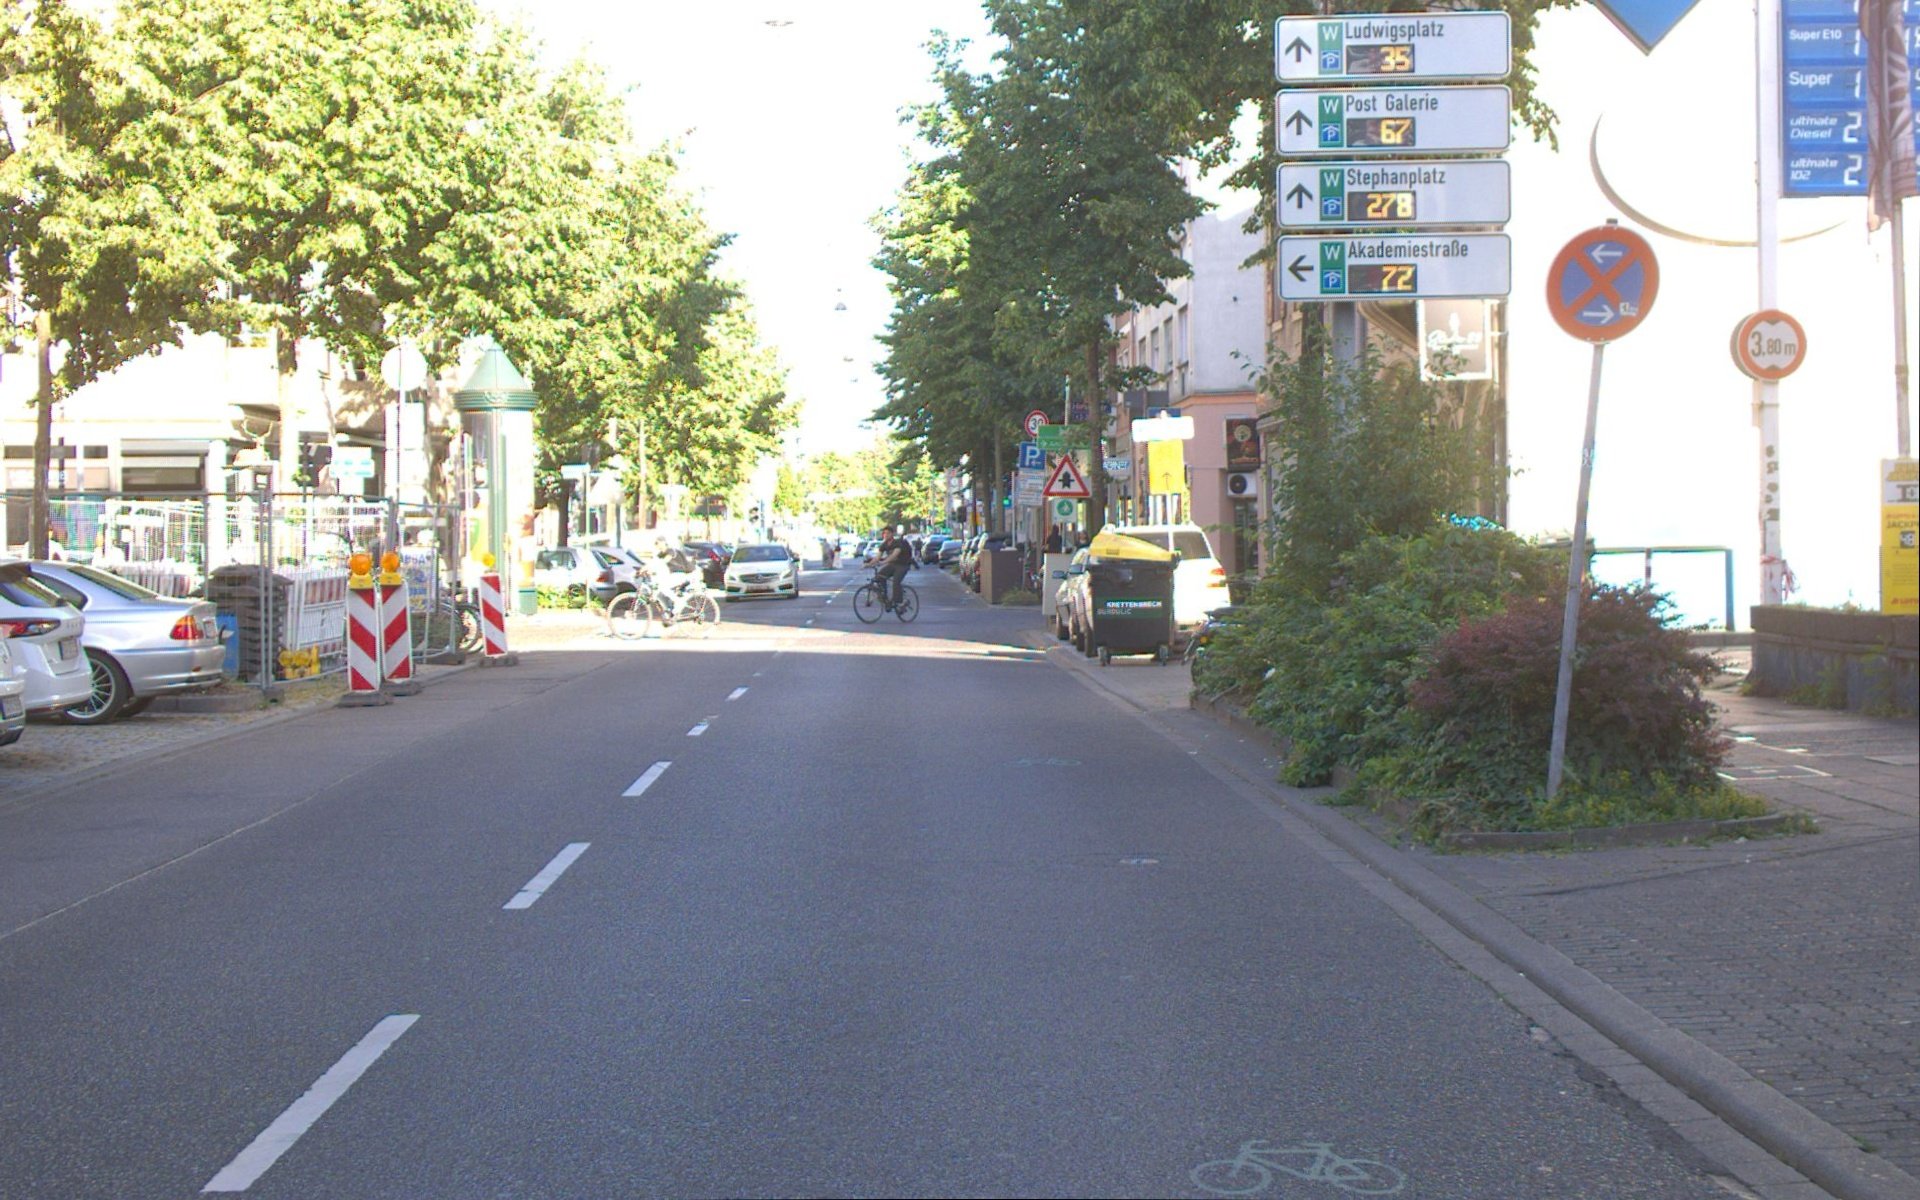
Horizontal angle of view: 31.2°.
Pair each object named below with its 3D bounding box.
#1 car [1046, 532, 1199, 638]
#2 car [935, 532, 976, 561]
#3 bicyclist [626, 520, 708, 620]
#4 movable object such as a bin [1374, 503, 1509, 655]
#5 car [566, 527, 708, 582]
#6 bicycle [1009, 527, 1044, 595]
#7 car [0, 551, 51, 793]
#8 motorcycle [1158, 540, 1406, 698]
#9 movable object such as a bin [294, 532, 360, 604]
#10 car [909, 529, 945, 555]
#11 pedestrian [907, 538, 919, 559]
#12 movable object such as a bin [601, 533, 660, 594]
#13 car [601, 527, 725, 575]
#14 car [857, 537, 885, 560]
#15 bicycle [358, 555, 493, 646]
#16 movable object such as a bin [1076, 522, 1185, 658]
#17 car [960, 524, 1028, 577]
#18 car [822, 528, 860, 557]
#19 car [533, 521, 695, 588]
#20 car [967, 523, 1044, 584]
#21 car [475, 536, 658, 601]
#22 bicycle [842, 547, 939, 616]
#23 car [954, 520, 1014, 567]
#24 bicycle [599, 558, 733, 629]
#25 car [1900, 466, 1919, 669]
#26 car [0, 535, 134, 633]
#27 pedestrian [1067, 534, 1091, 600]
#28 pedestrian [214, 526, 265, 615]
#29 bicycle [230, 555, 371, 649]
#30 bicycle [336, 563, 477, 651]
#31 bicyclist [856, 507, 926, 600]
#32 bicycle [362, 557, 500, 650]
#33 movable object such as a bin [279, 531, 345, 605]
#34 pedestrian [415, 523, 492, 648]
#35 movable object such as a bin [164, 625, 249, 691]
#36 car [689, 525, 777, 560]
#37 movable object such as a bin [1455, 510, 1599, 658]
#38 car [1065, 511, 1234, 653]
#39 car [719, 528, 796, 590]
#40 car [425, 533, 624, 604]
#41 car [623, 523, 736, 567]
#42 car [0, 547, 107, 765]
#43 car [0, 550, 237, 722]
[{"bbox_3d":[2.341,-0.248,50.478,1.822,1.386,4.301,-3,1,-2],"label":"car"},{"bbox_3d":[-0.243,-2.756,178.015,1.993,1.503,4.000,0,1,-2],"label":"car"},{"bbox_3d":[-4.622,-0.478,54.202,1.037,1.555,0.769,-2,1,-27],"label":"bicyclist"},{"bbox_3d":[5.350,-0.246,38.303,1.205,1.622,1.498,-2,1,-3],"label":"movable object such as a bin"},{"bbox_3d":[-9.422,-1.339,100.468,3.986,1.494,2.000,-1,1,-2],"label":"car"},{"bbox_3d":[1.484,-0.879,76.993,0.560,1.436,1.628,-7,2,-1],"label":"bicycle"},{"bbox_3d":[-8.173,0.439,21.222,4.680,1.460,1.808,0,1,-4],"label":"car"},{"bbox_3d":[2.851,0.154,30.511,1.977,1.325,0.912,-1,1,-13],"label":"motorcycle"},{"bbox_3d":[-13.240,-0.677,71.936,1.171,1.480,1.315,-1,1,-3],"label":"movable object such as a bin"},{"bbox_3d":[-1.927,-3.329,197.593,1.993,1.503,4.000,0,1,-2],"label":"car"},{"bbox_3d":[-2.381,-2.597,172.905,0.545,1.023,0.546,-2,1,-3],"label":"pedestrian"},{"bbox_3d":[-8.187,-0.908,85.432,1.334,1.473,1.480,-1,1,-1],"label":"movable object such as a bin"},{"bbox_3d":[-9.871,-1.646,114.413,3.986,1.494,2.000,-1,1,-2],"label":"car"},{"bbox_3d":[-5.735,-3.311,221.381,1.792,1.406,4.001,-1,1,-1],"label":"car"},{"bbox_3d":[-7.434,0.003,47.843,1.854,1.248,0.600,0,1,-8],"label":"bicycle"},{"bbox_3d":[2.038,-0.135,40.873,1.143,1.556,1.459,-1,1,7],"label":"movable object such as a bin"},{"bbox_3d":[1.066,-1.591,110.028,1.993,1.604,4.001,-1,1,-1],"label":"car"},{"bbox_3d":[-6.140,-2.990,177.385,1.822,1.386,4.301,-3,1,-2],"label":"car"},{"bbox_3d":[-9.202,-1.211,91.653,3.987,1.688,2.000,-1,1,4],"label":"car"},{"bbox_3d":[1.256,-1.326,96.655,1.993,1.604,4.001,-1,1,-1],"label":"car"},{"bbox_3d":[-8.988,-0.736,78.748,3.986,1.385,2.000,-1,1,-2],"label":"car"},{"bbox_3d":[-1.270,-0.341,63.112,0.720,1.215,2.032,0,1,34],"label":"bicycle"},{"bbox_3d":[0.840,-2.026,122.659,1.993,1.604,4.001,-1,1,-1],"label":"car"},{"bbox_3d":[-4.636,-0.113,54.211,1.949,1.055,0.769,-2,1,-27],"label":"bicycle"},{"bbox_3d":[8.686,-0.250,26.105,1.901,1.642,4.294,-1,1,0],"label":"car"},{"bbox_3d":[-16.572,-0.262,59.832,3.986,1.605,2.001,-2,1,-22],"label":"car"},{"bbox_3d":[3.006,-0.847,86.814,0.547,1.644,0.664,-1,1,0],"label":"pedestrian"},{"bbox_3d":[-13.461,-0.553,64.255,0.771,1.637,0.690,-1,1,-1],"label":"pedestrian"},{"bbox_3d":[-8.944,0.023,46.635,1.788,1.248,0.600,0,1,10],"label":"bicycle"},{"bbox_3d":[-7.420,0.094,46.157,1.854,1.166,0.600,0,1,-8],"label":"bicycle"},{"bbox_3d":[-1.272,-0.859,63.105,0.720,1.687,1.155,0,1,34],"label":"bicyclist"},{"bbox_3d":[-7.203,0.047,46.832,1.854,1.248,0.600,0,1,-8],"label":"bicycle"},{"bbox_3d":[-13.283,-0.666,70.479,1.140,1.480,1.236,-1,1,-3],"label":"movable object such as a bin"},{"bbox_3d":[-7.002,-0.207,47.506,0.792,1.701,0.767,-1,1,-34],"label":"pedestrian"},{"bbox_3d":[-7.605,0.579,34.749,0.627,0.614,1.077,-2,1,-1],"label":"movable object such as a bin"},{"bbox_3d":[-10.512,-2.672,159.373,3.986,1.494,2.000,-1,1,-2],"label":"car"},{"bbox_3d":[6.084,-0.181,36.944,1.270,1.525,1.177,-2,1,-3],"label":"movable object such as a bin"},{"bbox_3d":[2.428,-0.276,45.157,1.822,1.673,4.601,-3,1,-1],"label":"car"},{"bbox_3d":[-5.136,-1.060,87.612,1.802,1.430,4.410,-3,1,-2],"label":"car"},{"bbox_3d":[-9.208,-0.680,72.956,3.986,1.385,2.000,-1,1,-2],"label":"car"},{"bbox_3d":[-10.182,-2.001,125.177,3.986,1.494,2.000,-1,1,-2],"label":"car"},{"bbox_3d":[-8.440,0.373,23.780,4.680,1.460,1.808,0,1,-4],"label":"car"},{"bbox_3d":[-8.635,0.288,29.184,4.680,1.407,1.808,0,1,-4],"label":"car"}]
